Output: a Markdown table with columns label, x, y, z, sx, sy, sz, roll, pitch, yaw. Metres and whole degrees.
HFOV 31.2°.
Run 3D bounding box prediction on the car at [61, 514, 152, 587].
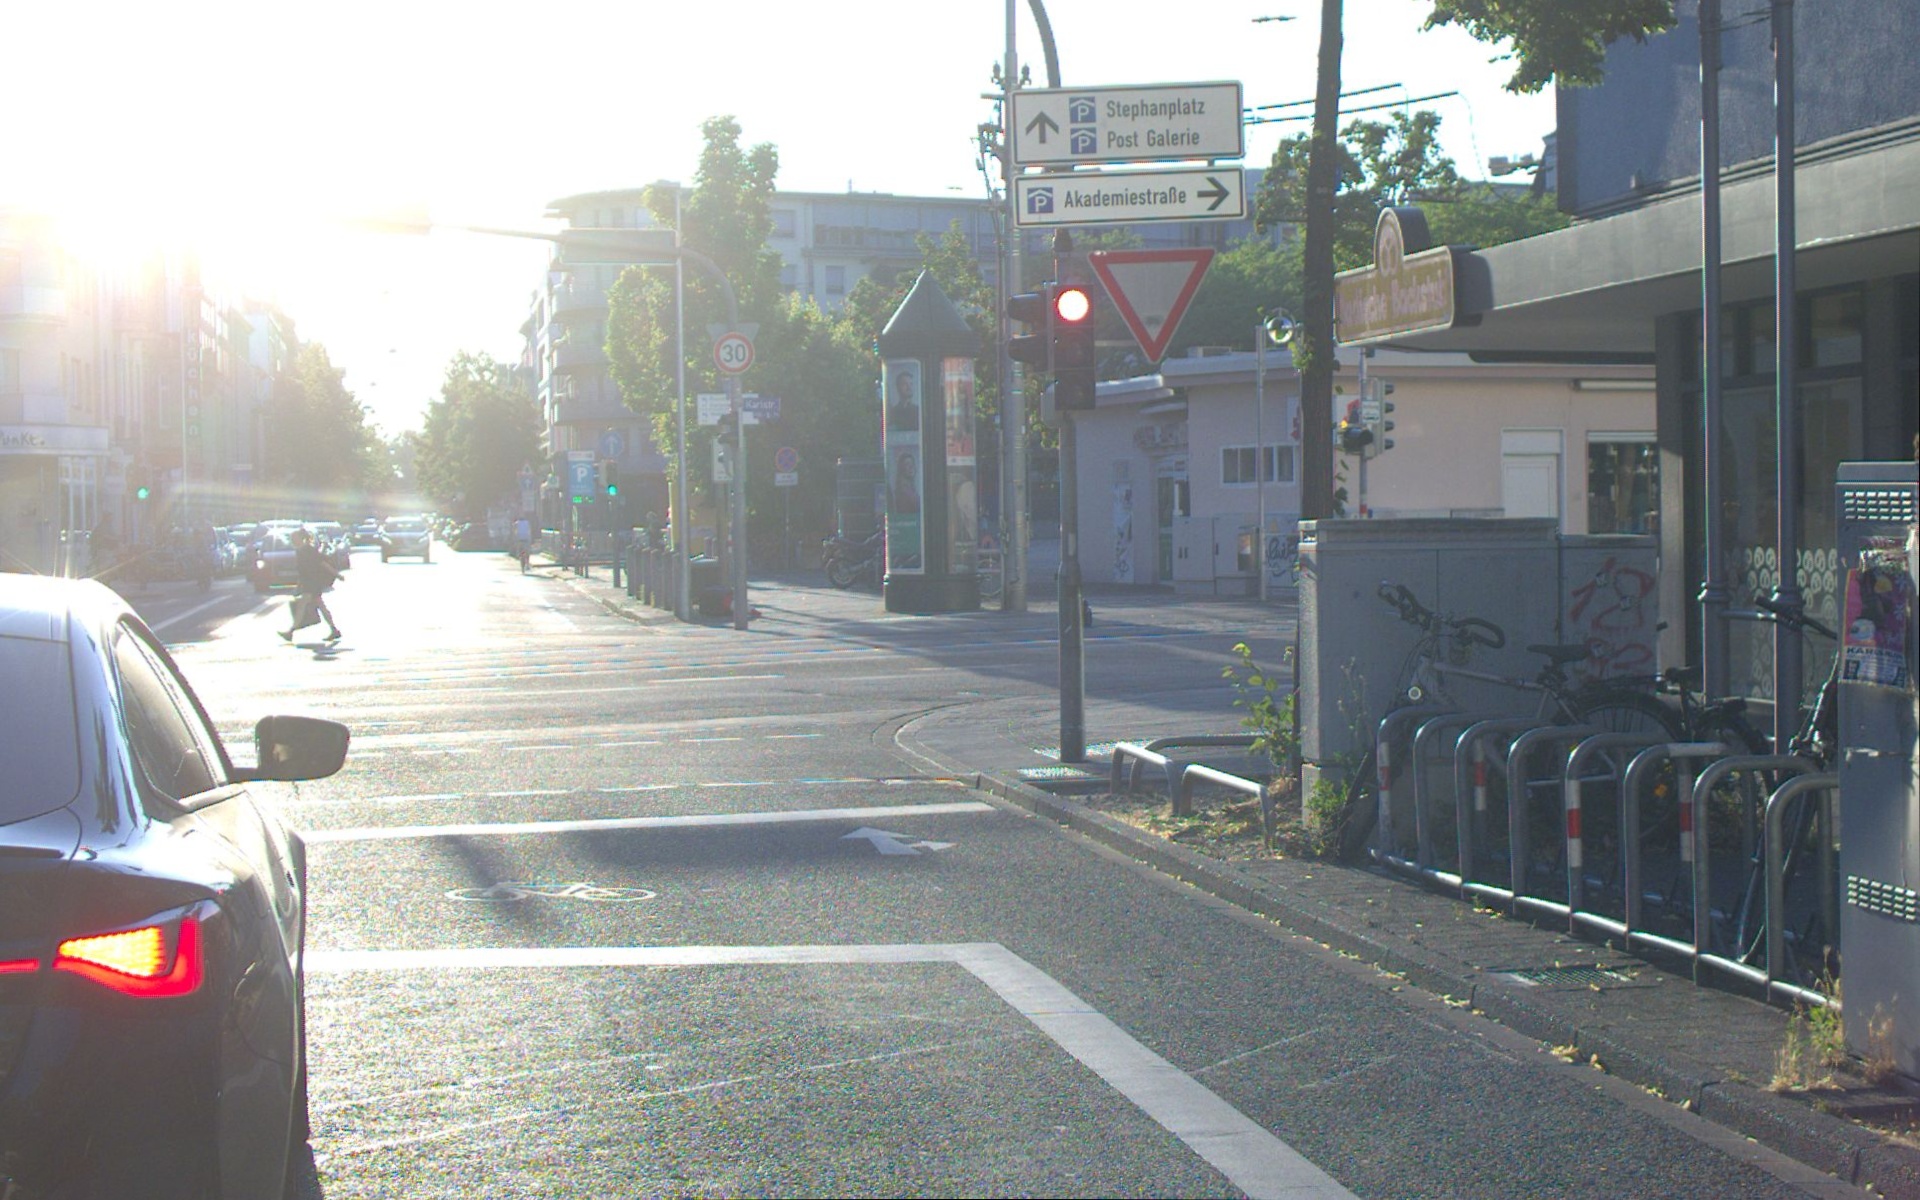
| label | x | y | z | sx | sy | sz | roll | pitch | yaw |
| --- | --- | --- | --- | --- | --- | --- | --- | --- | --- |
| car | -21.595 | -1.268 | 87.135 | 1.817 | 1.782 | 4.001 | -1 | 1 | -8 |

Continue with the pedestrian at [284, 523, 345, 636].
| label | x | y | z | sx | sy | sz | roll | pitch | yaw |
| --- | --- | --- | --- | --- | --- | --- | --- | --- | --- |
| pedestrian | -8.800 | -0.279 | 46.870 | 0.732 | 1.524 | 0.473 | 0 | 1 | -20 |

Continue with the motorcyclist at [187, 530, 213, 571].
| label | x | y | z | sx | sy | sz | roll | pitch | yaw |
| --- | --- | --- | --- | --- | --- | --- | --- | --- | --- |
| motorcyclist | -18.568 | -1.217 | 84.013 | 0.575 | 0.992 | 0.703 | 1 | 1 | -8 |

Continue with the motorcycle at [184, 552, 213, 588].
| label | x | y | z | sx | sy | sz | roll | pitch | yaw |
| --- | --- | --- | --- | --- | --- | --- | --- | --- | --- |
| motorcycle | -19.562 | -0.779 | 88.339 | 0.575 | 0.912 | 2.201 | 1 | 1 | -8 |

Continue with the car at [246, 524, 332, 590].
| label | x | y | z | sx | sy | sz | roll | pitch | yaw |
| --- | --- | --- | --- | --- | --- | --- | --- | --- | --- |
| car | -16.190 | -1.051 | 83.037 | 1.817 | 1.514 | 4.001 | -1 | 1 | -8 |

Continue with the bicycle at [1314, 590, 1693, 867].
| label | x | y | z | sx | sy | sz | roll | pitch | yaw |
| --- | --- | --- | --- | --- | --- | --- | --- | --- | --- |
| bicycle | 2.396 | 0.558 | 15.164 | 1.612 | 1.167 | 0.318 | -1 | 1 | -6 |

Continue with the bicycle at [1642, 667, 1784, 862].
| label | x | y | z | sx | sy | sz | roll | pitch | yaw |
| --- | --- | --- | --- | --- | --- | --- | --- | --- | --- |
| bicycle | 3.341 | 0.716 | 15.296 | 0.249 | 0.793 | 1.116 | 1 | 1 | -7 |

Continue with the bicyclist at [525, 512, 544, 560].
| label | x | y | z | sx | sy | sz | roll | pitch | yaw |
| --- | --- | --- | --- | --- | --- | --- | --- | --- | --- |
| bicyclist | -13.283 | -1.992 | 107.308 | 0.550 | 1.476 | 0.723 | 0 | 0 | -10 |

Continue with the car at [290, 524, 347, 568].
| label | x | y | z | sx | sy | sz | roll | pitch | yaw |
| --- | --- | --- | --- | --- | --- | --- | --- | --- | --- |
| car | -22.994 | -1.954 | 123.382 | 1.817 | 1.514 | 4.001 | -1 | 1 | -8 |

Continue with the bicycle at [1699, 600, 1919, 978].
| label | x | y | z | sx | sy | sz | roll | pitch | yaw |
| --- | --- | --- | --- | --- | --- | --- | --- | --- | --- |
| bicycle | 3.223 | 0.621 | 11.403 | 1.440 | 1.216 | 0.383 | 1 | 1 | -7 |

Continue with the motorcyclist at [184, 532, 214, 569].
| label | x | y | z | sx | sy | sz | roll | pitch | yaw |
| --- | --- | --- | --- | --- | --- | --- | --- | --- | --- |
| motorcyclist | -19.523 | -1.273 | 88.201 | 0.575 | 0.912 | 2.201 | 1 | 1 | -8 |

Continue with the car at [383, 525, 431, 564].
| label | x | y | z | sx | sy | sz | roll | pitch | yaw |
| --- | --- | --- | --- | --- | --- | --- | --- | --- | --- |
| car | -21.990 | -2.220 | 136.789 | 1.817 | 1.514 | 4.001 | -1 | 1 | -8 |

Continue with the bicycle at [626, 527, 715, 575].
| label | x | y | z | sx | sy | sz | roll | pitch | yaw |
| --- | --- | --- | --- | --- | --- | --- | --- | --- | --- |
| bicycle | -7.487 | -1.276 | 88.974 | 2.212 | 1.198 | 0.620 | 1 | 1 | 3 |

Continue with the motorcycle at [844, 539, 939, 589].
| label | x | y | z | sx | sy | sz | roll | pitch | yaw |
| --- | --- | --- | --- | --- | --- | --- | --- | --- | --- |
| motorcycle | -1.357 | -0.712 | 67.913 | 1.668 | 0.935 | 0.856 | -1 | 2 | -19 |

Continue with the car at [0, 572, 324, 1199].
| label | x | y | z | sx | sy | sz | roll | pitch | yaw |
| --- | --- | --- | --- | --- | --- | --- | --- | --- | --- |
| car | -2.118 | 0.682 | 6.504 | 1.736 | 1.424 | 4.225 | 0 | 1 | -10 |

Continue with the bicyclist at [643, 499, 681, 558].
| label | x | y | z | sx | sy | sz | roll | pitch | yaw |
| --- | --- | --- | --- | --- | --- | --- | --- | --- | --- |
| bicyclist | -7.702 | -1.853 | 88.975 | 0.884 | 1.500 | 0.612 | 1 | 1 | 3 |

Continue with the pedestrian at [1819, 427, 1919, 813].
| label | x | y | z | sx | sy | sz | roll | pitch | yaw |
| --- | --- | --- | --- | --- | --- | --- | --- | --- | --- |
| pedestrian | 4.730 | 0.080 | 16.748 | 0.835 | 1.835 | 0.679 | -1 | 1 | -8 |

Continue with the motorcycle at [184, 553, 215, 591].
| label | x | y | z | sx | sy | sz | roll | pitch | yaw |
| --- | --- | --- | --- | --- | --- | --- | --- | --- | --- |
| motorcycle | -18.620 | -0.692 | 84.223 | 0.575 | 0.912 | 2.201 | 1 | 1 | -8 |

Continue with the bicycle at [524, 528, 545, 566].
| label | x | y | z | sx | sy | sz | roll | pitch | yaw |
| --- | --- | --- | --- | --- | --- | --- | --- | --- | --- |
| bicycle | -13.272 | -1.653 | 107.248 | 0.550 | 1.155 | 2.145 | 0 | 1 | -10 |
